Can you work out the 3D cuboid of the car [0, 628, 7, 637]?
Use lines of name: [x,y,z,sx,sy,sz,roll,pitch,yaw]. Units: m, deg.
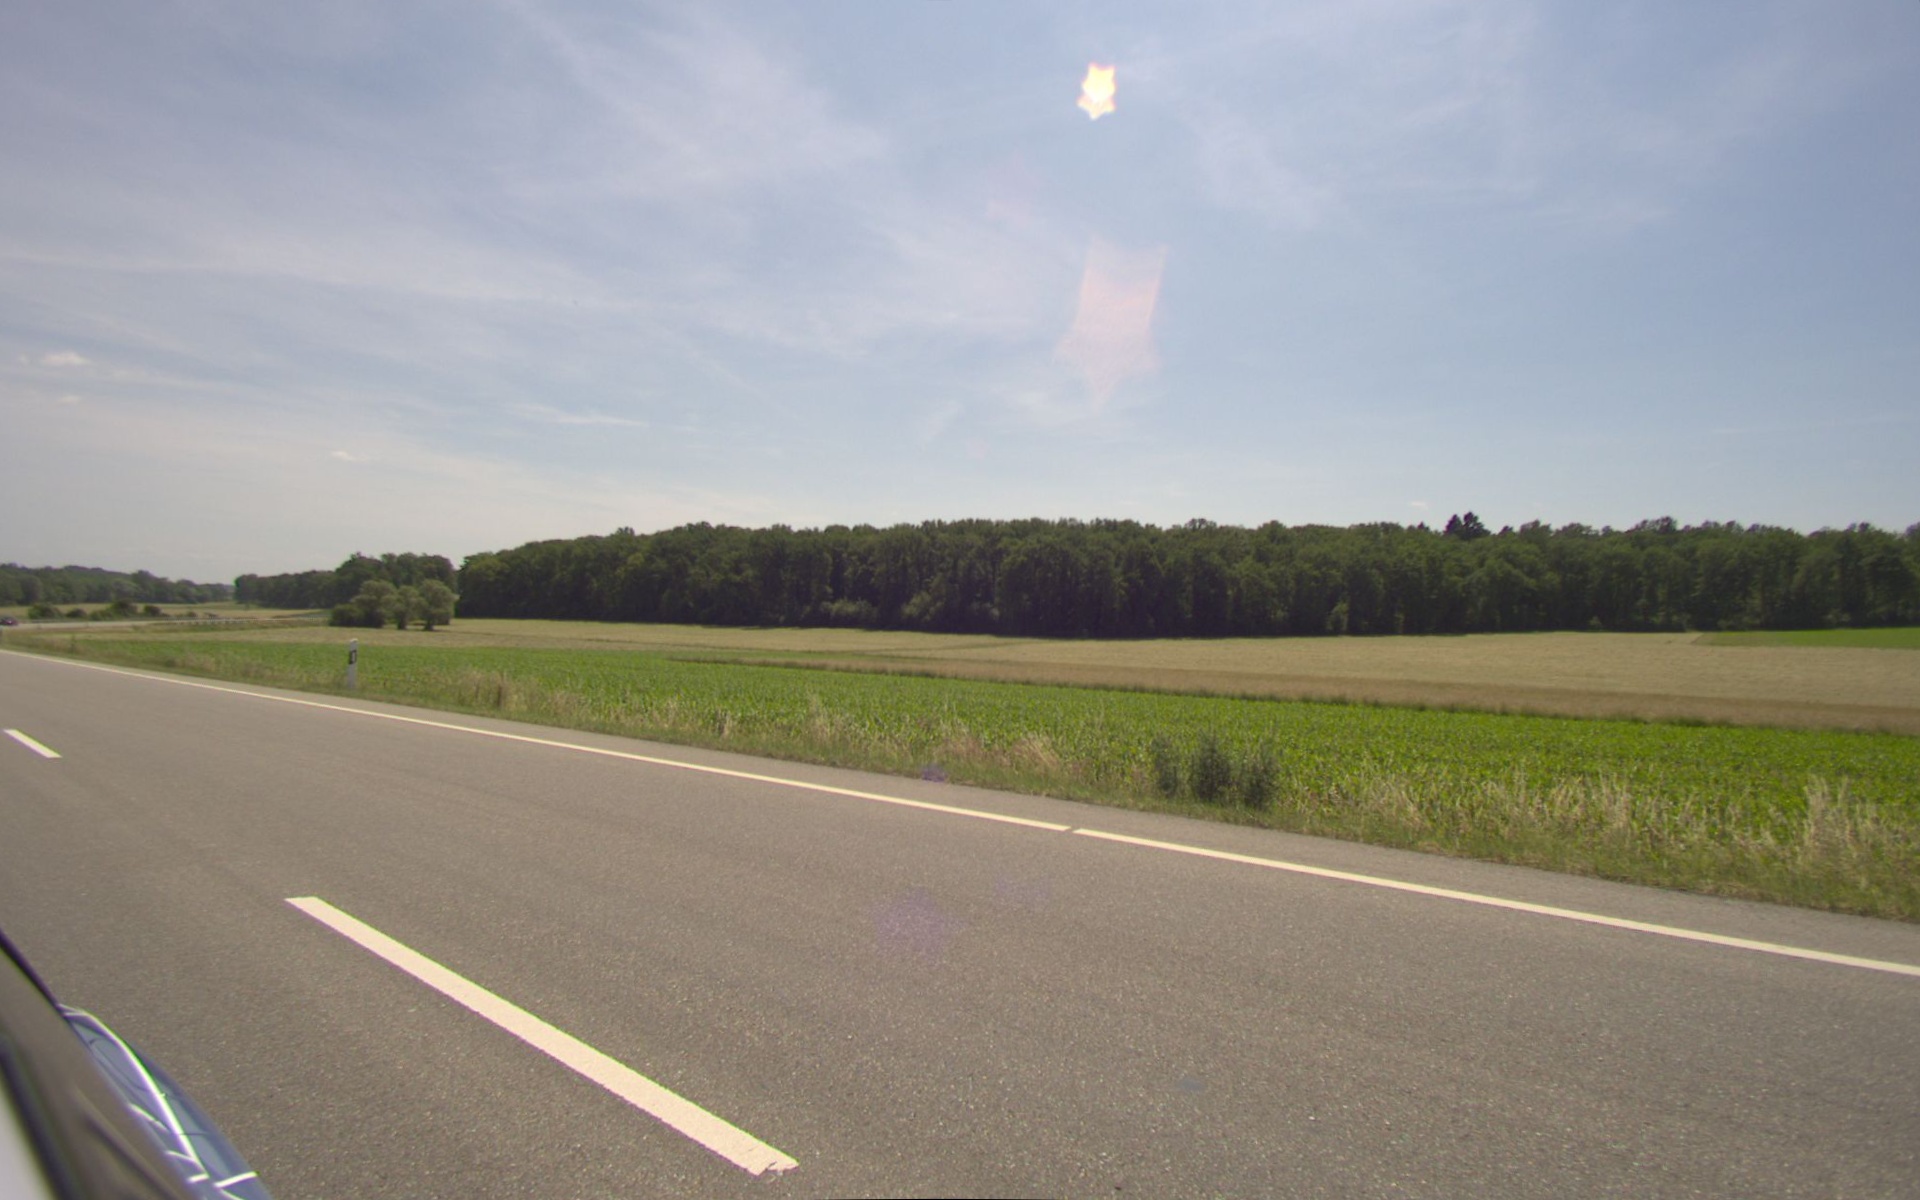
car: [-155.665,5.232,163.815,1.596,1.447,3.451,2,-2,-35]
